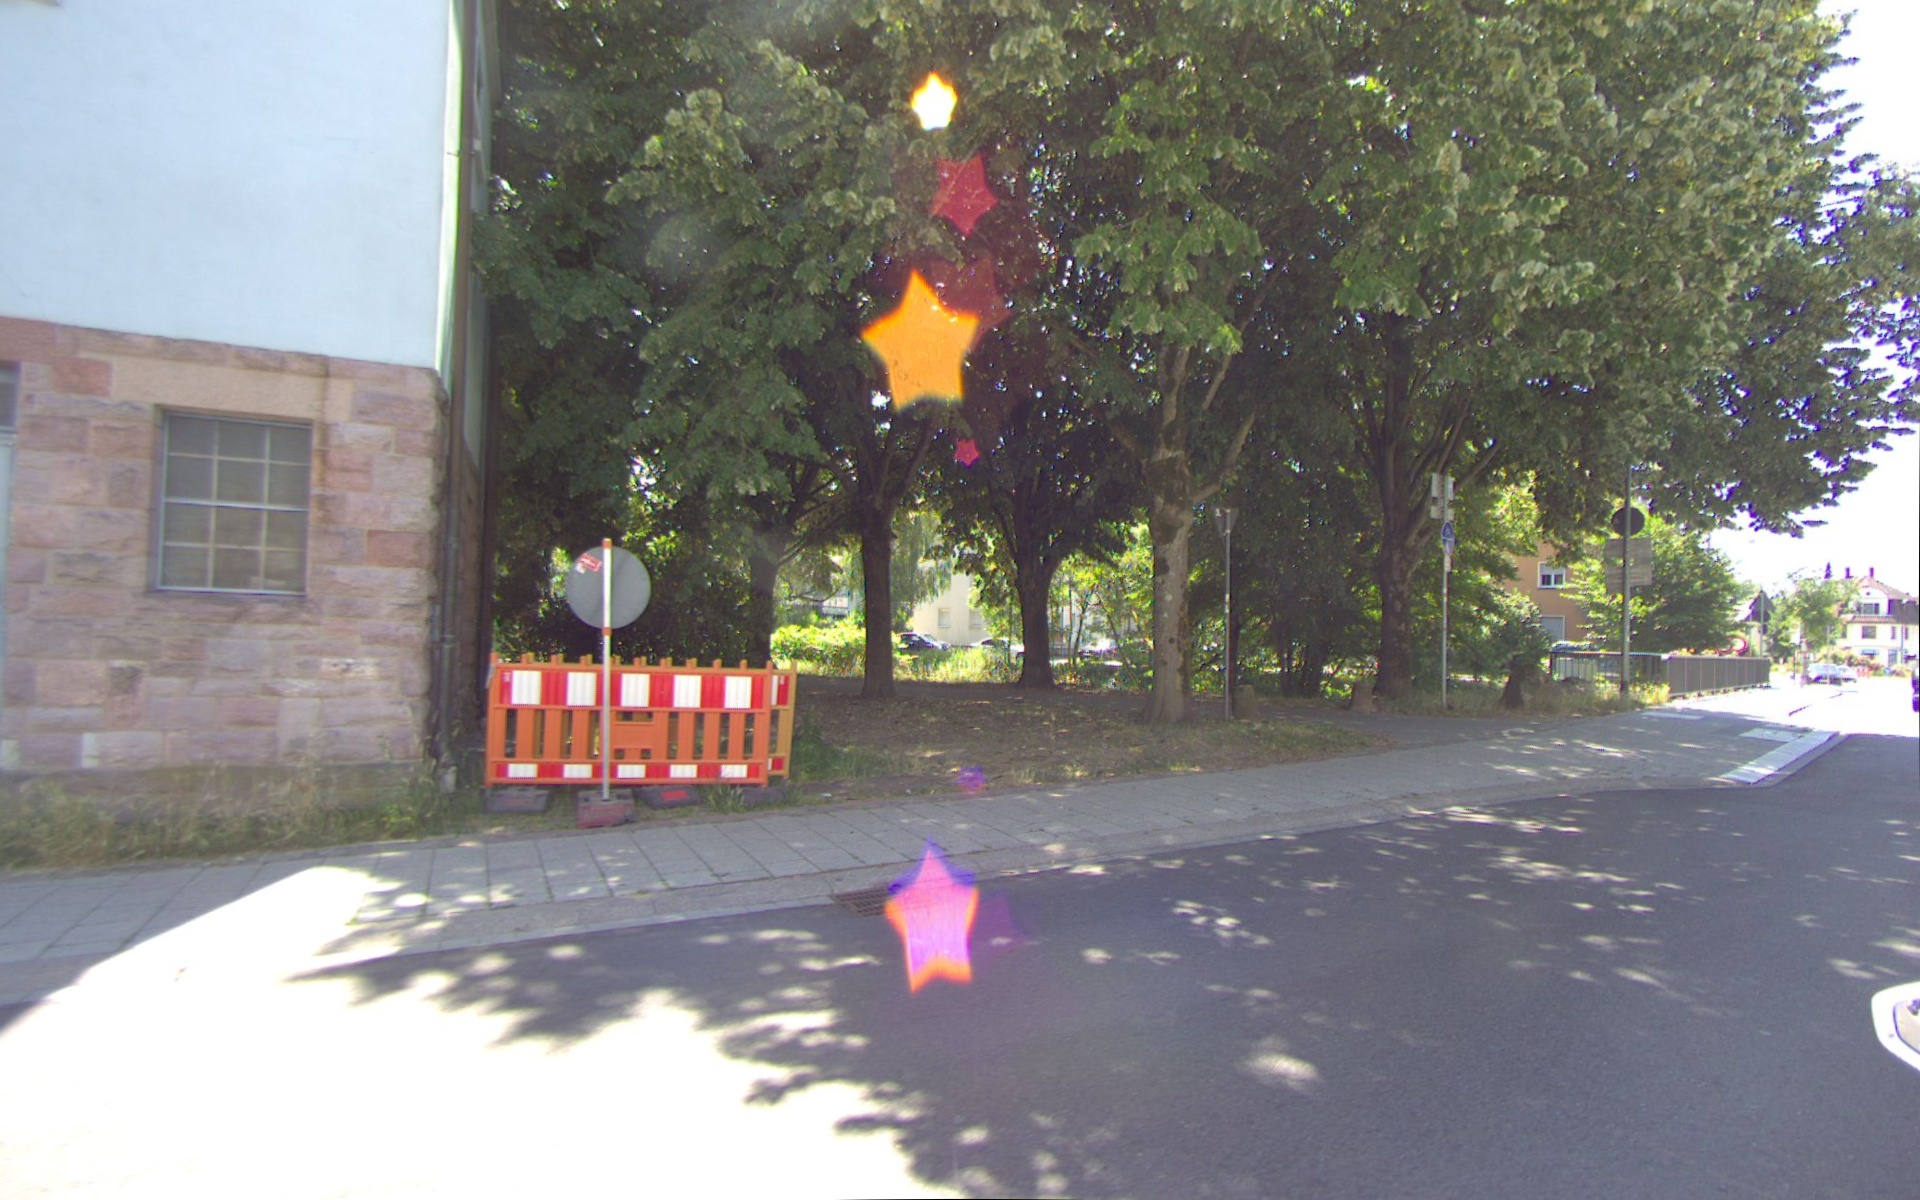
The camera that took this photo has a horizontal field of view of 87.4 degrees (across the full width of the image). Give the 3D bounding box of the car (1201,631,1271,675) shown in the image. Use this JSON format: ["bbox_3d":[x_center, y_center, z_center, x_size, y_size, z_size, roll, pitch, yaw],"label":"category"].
[{"bbox_3d":[13.974,2.661,50.726,1.969,2.040,3.983,1,-2,39],"label":"car"}]

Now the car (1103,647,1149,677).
[{"bbox_3d":[10.839,3.996,65.386,1.962,1.706,3.998,1,-1,24],"label":"car"}]

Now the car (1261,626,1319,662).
[{"bbox_3d":[19.821,2.676,60.256,1.970,2.040,3.981,1,-2,40],"label":"car"}]

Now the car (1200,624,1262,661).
[{"bbox_3d":[15.837,2.513,58.513,1.970,2.040,3.981,1,-2,40],"label":"car"}]

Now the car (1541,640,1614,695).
[{"bbox_3d":[25.252,2.706,41.024,1.970,2.040,3.981,1,-1,40],"label":"car"}]

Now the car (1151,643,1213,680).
[{"bbox_3d":[13.271,3.634,59.922,1.971,2.040,3.980,1,-2,41],"label":"car"}]

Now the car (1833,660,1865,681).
[{"bbox_3d":[78.121,6.152,88.274,1.971,1.681,3.978,3,0,42],"label":"car"}]

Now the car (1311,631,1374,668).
[{"bbox_3d":[22.049,2.837,57.890,1.972,2.040,3.976,1,-1,44],"label":"car"}]

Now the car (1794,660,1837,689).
[{"bbox_3d":[56.038,4.836,65.766,1.971,1.681,3.978,3,0,42],"label":"car"}]

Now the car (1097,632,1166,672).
[{"bbox_3d":[9.393,2.782,54.883,1.970,2.040,3.981,1,-1,40],"label":"car"}]

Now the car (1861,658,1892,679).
[{"bbox_3d":[83.634,6.225,91.697,1.971,1.681,3.978,3,0,42],"label":"car"}]

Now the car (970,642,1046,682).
[{"bbox_3d":[2.727,3.496,57.656,3.942,2.040,1.990,1,0,42],"label":"car"}]

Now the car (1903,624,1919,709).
[{"bbox_3d":[22.362,1.466,22.276,4.305,1.795,1.725,2,-3,-42],"label":"car"}]

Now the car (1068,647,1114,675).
[{"bbox_3d":[8.720,4.013,66.683,1.962,1.706,3.998,1,-1,24],"label":"car"}]
